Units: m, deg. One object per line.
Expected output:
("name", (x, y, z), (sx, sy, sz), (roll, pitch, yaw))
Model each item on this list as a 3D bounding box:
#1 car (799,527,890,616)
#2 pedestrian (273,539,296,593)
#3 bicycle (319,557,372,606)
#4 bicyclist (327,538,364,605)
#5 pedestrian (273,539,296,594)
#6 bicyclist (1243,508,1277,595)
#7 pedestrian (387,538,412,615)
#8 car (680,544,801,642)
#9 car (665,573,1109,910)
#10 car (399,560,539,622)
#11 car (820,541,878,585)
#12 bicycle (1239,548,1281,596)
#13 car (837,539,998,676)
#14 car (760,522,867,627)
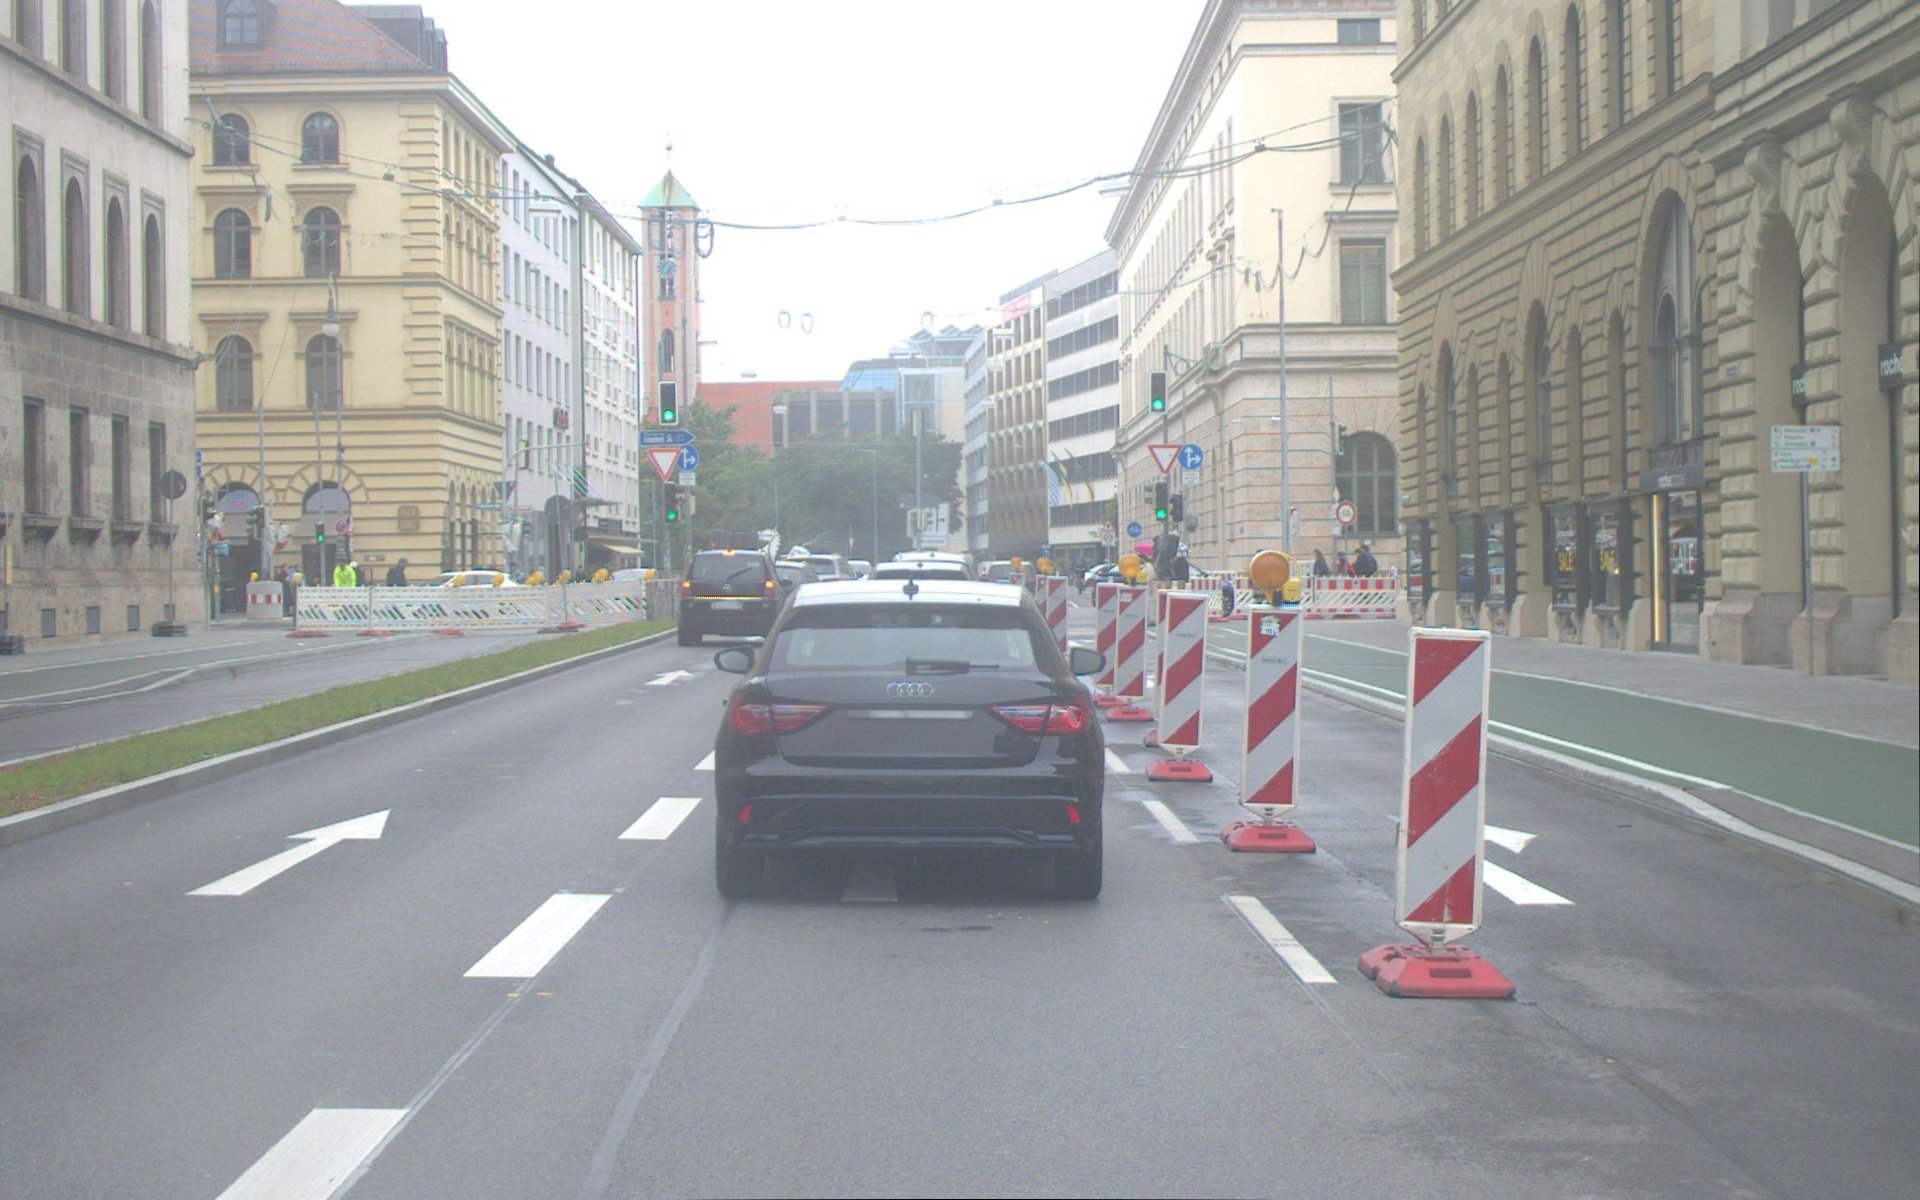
("car", (-2.690, -0.685, 80.974), (1.993, 2.007, 4.000), (-1, 1, 0))
("pedestrian", (-21.994, -1.104, 111.951), (0.733, 1.766, 0.739), (0, 1, -10))
("bicycle", (-16.006, -0.484, 89.554), (0.787, 1.238, 2.448), (0, 1, 4))
("bicyclist", (-16.005, -0.749, 89.528), (0.798, 1.742, 0.689), (0, 1, 4))
("pedestrian", (-21.846, -1.085, 111.188), (0.733, 1.766, 0.739), (0, 1, -10))
("bicyclist", (6.429, -1.040, 73.664), (0.566, 1.847, 0.799), (0, 1, -6))
("pedestrian", (-12.722, -0.544, 78.015), (0.512, 1.737, 1.043), (-1, 1, -10))
("car", (-3.719, -0.137, 58.763), (1.865, 1.596, 3.851), (-1, 1, -1))
("car", (-0.330, 0.580, 16.458), (1.863, 1.383, 4.000), (0, 1, -1))
("car", (-14.726, -0.267, 103.222), (3.742, 1.792, 1.867), (-1, 1, -41))
("car", (-3.977, -1.326, 123.557), (1.993, 1.519, 4.233), (-1, 1, -1))
("bicycle", (6.424, -0.607, 73.696), (0.584, 1.008, 1.657), (0, 1, -6))
("car", (-0.572, 0.061, 42.598), (1.768, 1.611, 4.001), (0, 1, -4))
("car", (-2.871, -0.518, 68.158), (1.993, 2.007, 4.000), (-1, 1, -1))
